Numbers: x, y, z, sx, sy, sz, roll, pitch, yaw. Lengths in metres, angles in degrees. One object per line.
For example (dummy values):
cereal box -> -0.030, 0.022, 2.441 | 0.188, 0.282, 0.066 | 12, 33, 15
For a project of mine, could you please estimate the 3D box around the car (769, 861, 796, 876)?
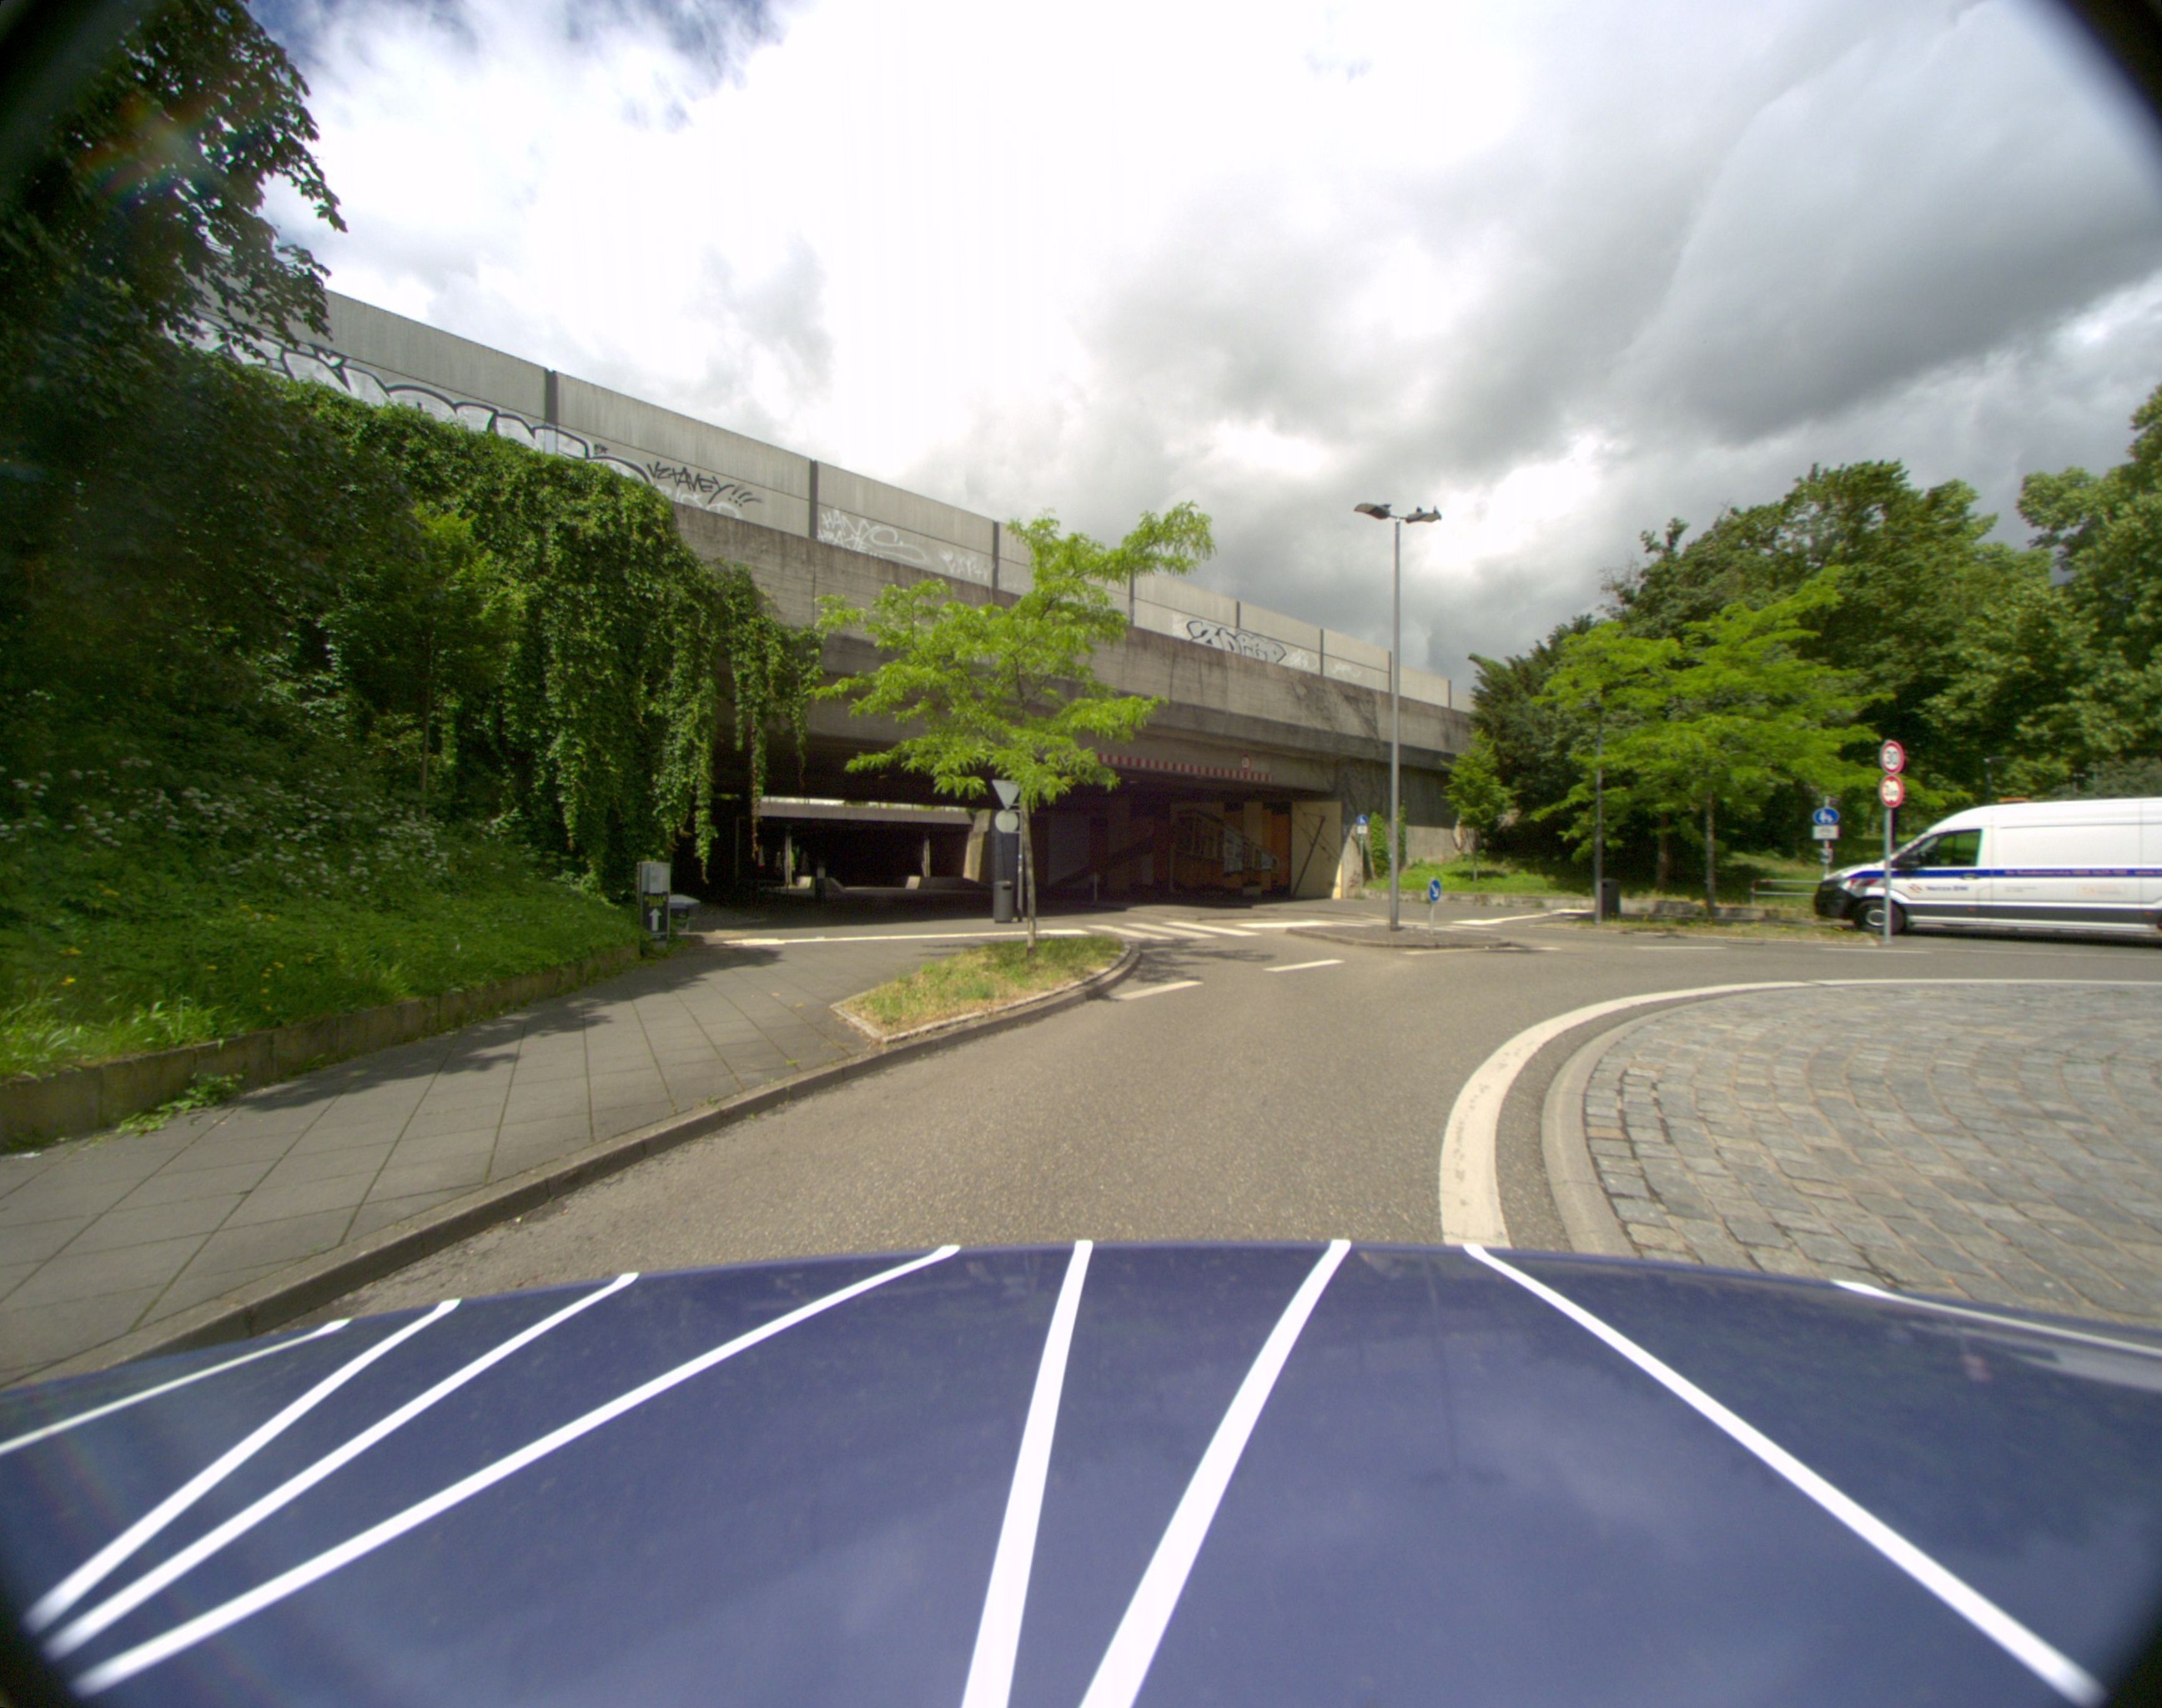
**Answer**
car -> -30.481, 1.496, 77.624 | 1.680, 1.439, 3.842 | 2, -1, -36

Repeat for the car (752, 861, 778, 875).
car -> -36.274, 1.597, 87.116 | 1.835, 1.644, 4.203 | 2, -1, -35

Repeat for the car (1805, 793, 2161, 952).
car -> 17.580, 0.290, 13.977 | 1.977, 2.592, 5.915 | -2, 1, -36

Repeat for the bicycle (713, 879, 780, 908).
bicycle -> -11.043, 1.293, 25.141 | 1.955, 0.899, 0.505 | 2, 0, -36
